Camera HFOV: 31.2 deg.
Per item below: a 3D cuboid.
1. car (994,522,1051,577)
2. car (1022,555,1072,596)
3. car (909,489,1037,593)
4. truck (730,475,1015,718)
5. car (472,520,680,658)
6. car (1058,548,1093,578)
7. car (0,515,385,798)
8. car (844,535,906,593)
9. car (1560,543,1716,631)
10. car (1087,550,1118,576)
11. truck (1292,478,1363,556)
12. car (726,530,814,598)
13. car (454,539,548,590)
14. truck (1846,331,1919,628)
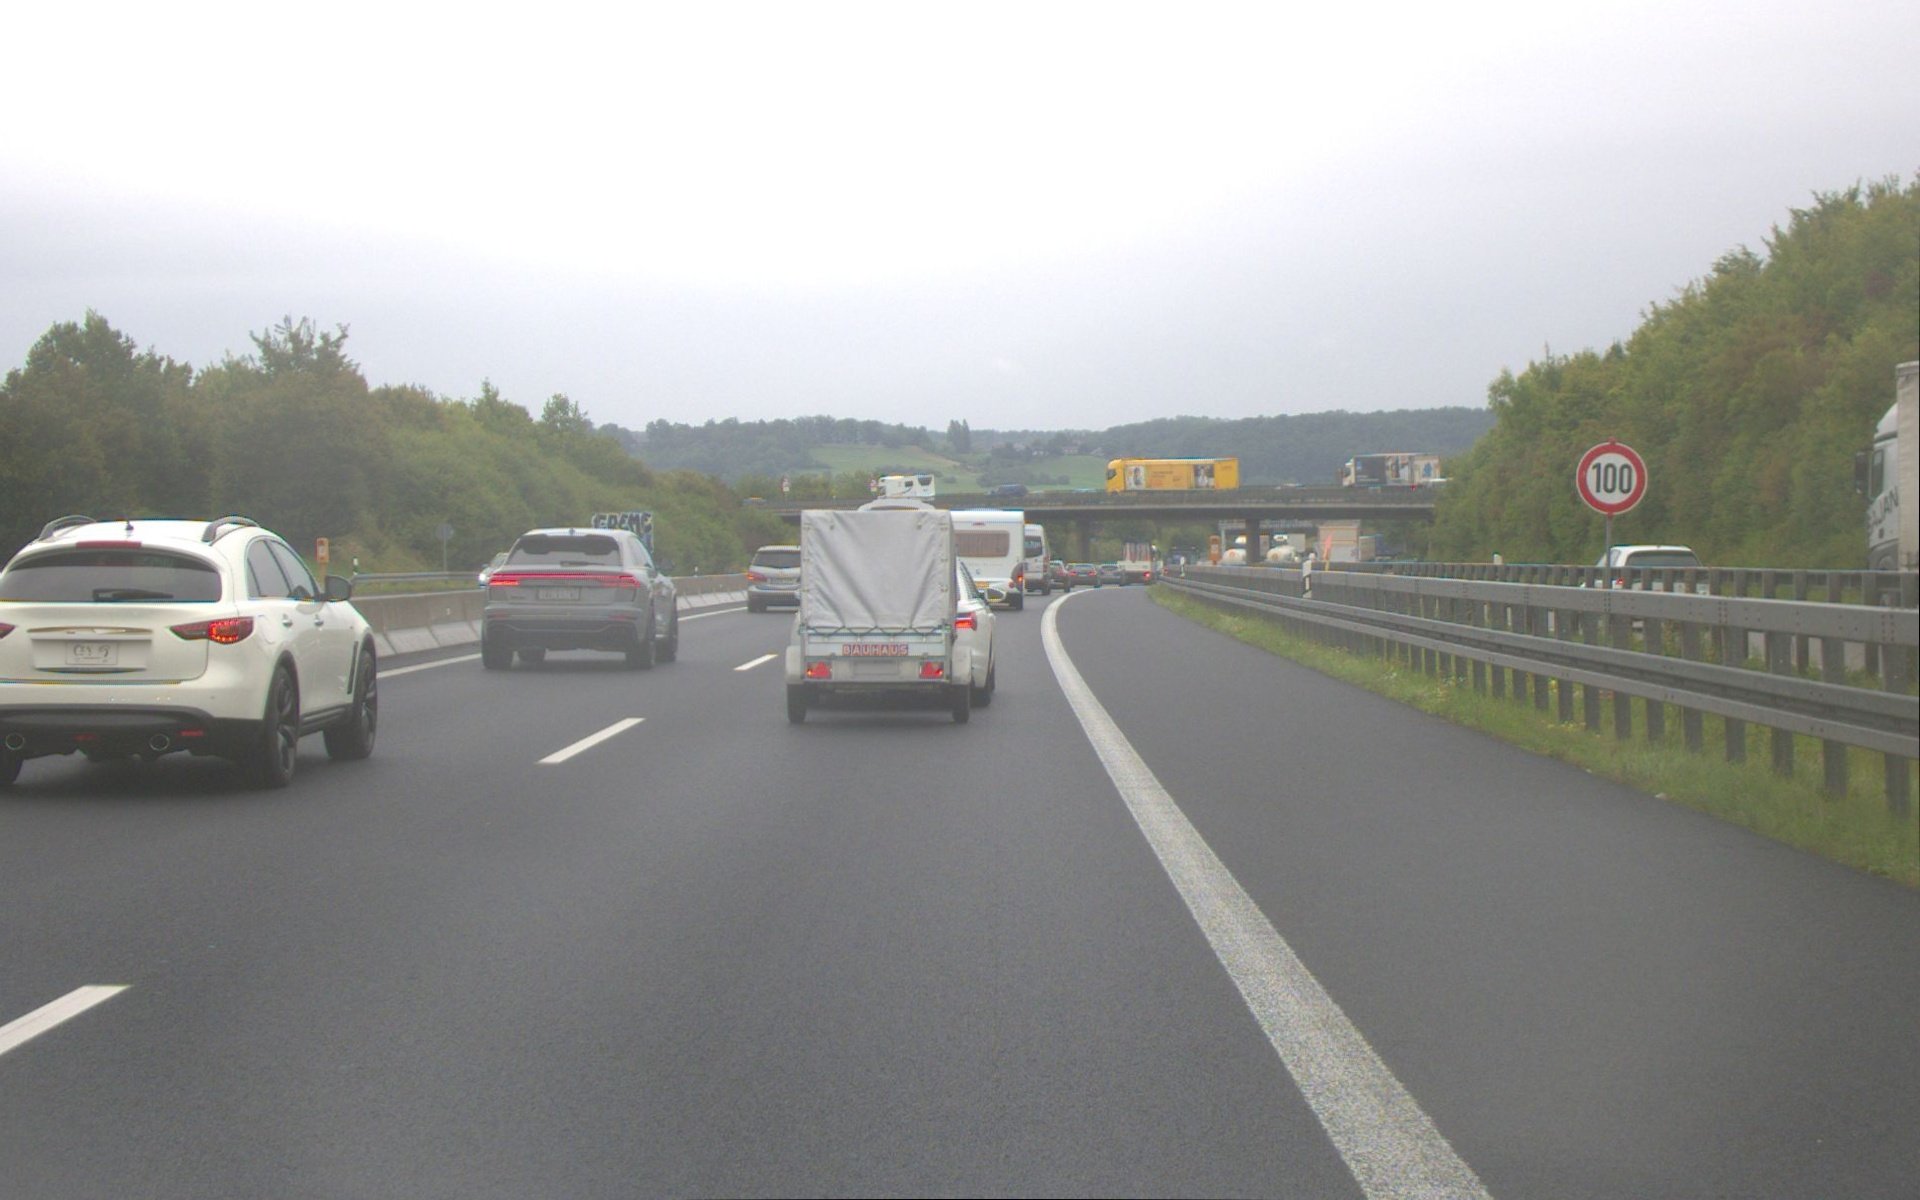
[{"bbox_3d":[2.355,-1.924,130.609,1.993,2.029,4.152,1,1,-1],"label":"car"},{"bbox_3d":[3.789,-1.065,150.118,1.993,1.744,4.000,1,1,-1],"label":"car"},{"bbox_3d":[0.386,-1.548,89.635,3.017,2.607,6.074,0,1,3],"label":"car"},{"bbox_3d":[-0.659,-0.096,31.619,2.019,1.979,7.212,0,1,3],"label":"truck"},{"bbox_3d":[-4.685,-0.163,42.563,2.174,1.626,4.501,0,1,-1],"label":"car"},{"bbox_3d":[6.926,-2.202,205.934,1.994,1.744,4.000,1,1,3],"label":"car"},{"bbox_3d":[-5.003,0.292,22.045,1.976,1.633,4.501,0,1,-1],"label":"car"},{"bbox_3d":[-2.677,-1.145,108.788,1.842,1.813,4.000,0,1,0],"label":"car"},{"bbox_3d":[11.496,-0.243,58.556,1.860,1.442,4.158,0,1,1],"label":"car"},{"bbox_3d":[9.759,-2.538,235.836,1.994,1.744,4.000,1,1,4],"label":"car"},{"bbox_3d":[24.350,-5.502,228.339,4.094,5.086,10.463,0,1,3],"label":"truck"},{"bbox_3d":[-4.563,-0.880,83.070,1.900,1.607,4.017,0,1,0],"label":"car"},{"bbox_3d":[-15.621,-1.240,117.245,2.180,1.690,5.249,0,1,4],"label":"car"},{"bbox_3d":[15.502,-1.713,48.357,3.437,4.274,10.418,0,1,0],"label":"truck"}]
